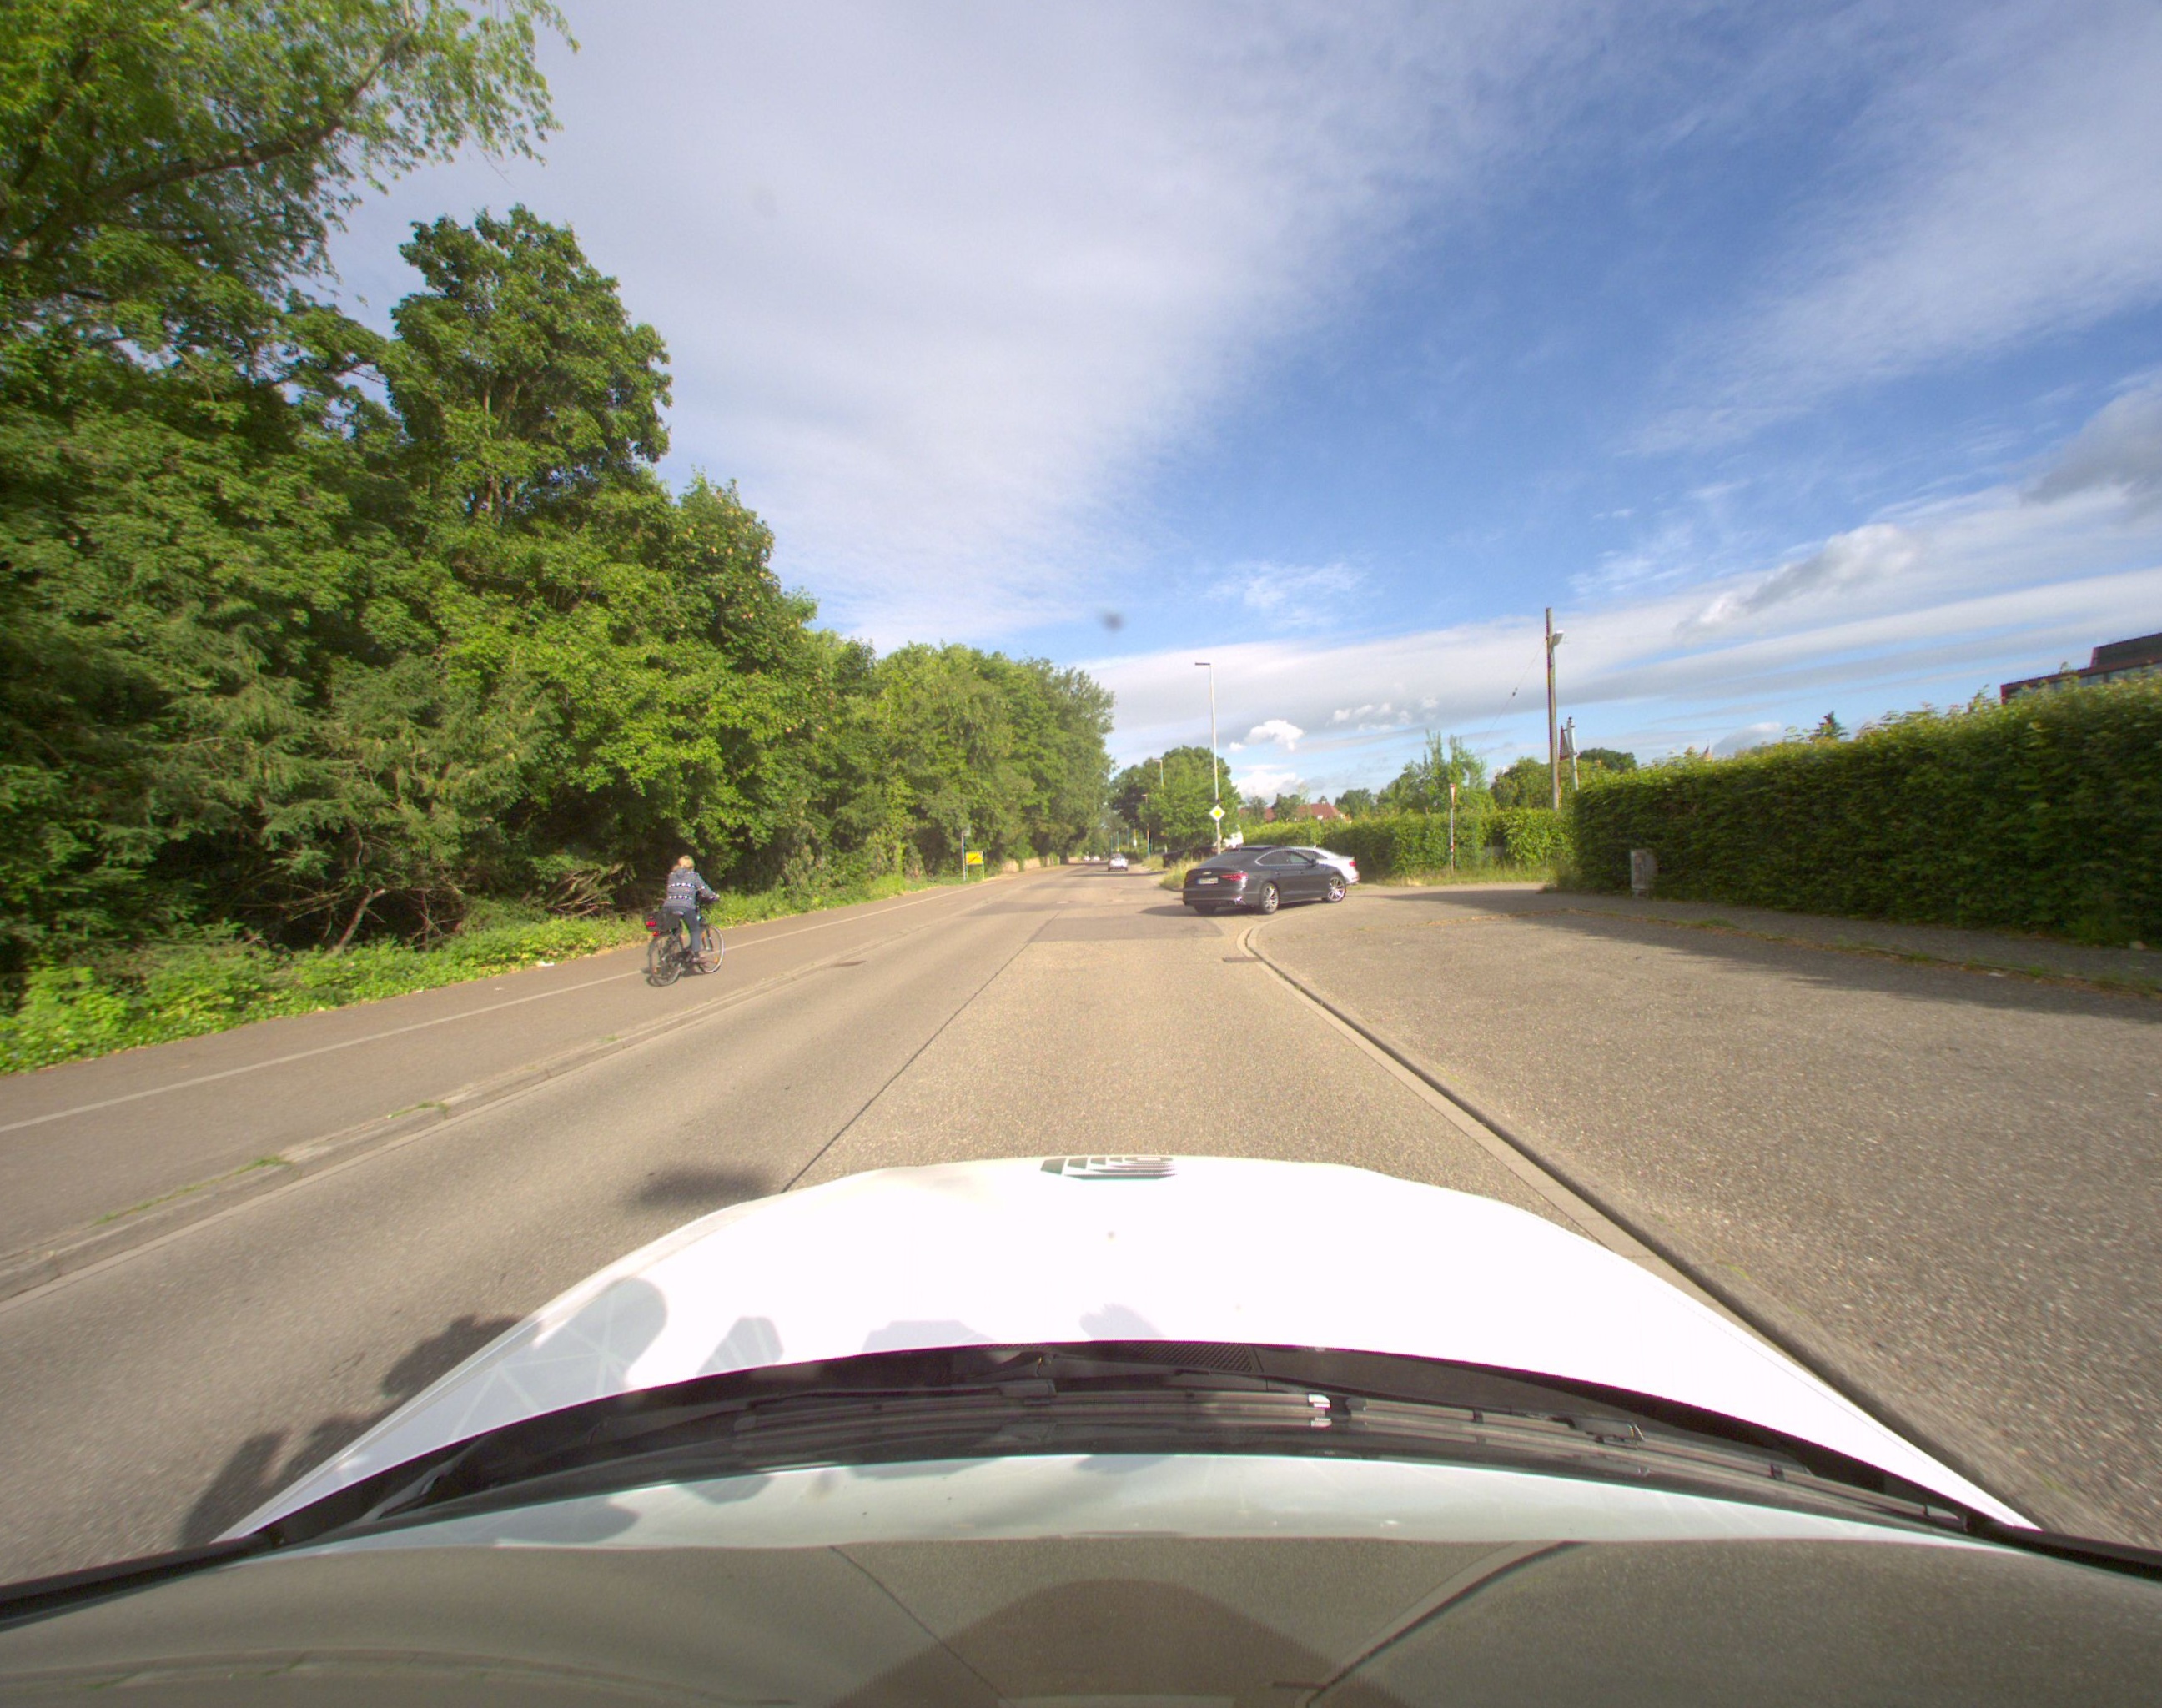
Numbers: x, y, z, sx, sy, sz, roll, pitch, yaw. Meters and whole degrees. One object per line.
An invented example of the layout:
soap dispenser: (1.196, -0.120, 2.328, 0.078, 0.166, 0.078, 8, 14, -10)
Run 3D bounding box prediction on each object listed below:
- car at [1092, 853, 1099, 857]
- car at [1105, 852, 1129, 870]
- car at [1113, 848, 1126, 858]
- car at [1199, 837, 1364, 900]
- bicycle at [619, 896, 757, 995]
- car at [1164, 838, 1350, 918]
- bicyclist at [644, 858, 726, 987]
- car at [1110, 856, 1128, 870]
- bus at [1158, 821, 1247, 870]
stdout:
car: (4.422, 0.289, 247.204, 1.880, 1.372, 4.054, -3, 0, 0)
car: (3.068, 0.594, 69.687, 1.879, 1.372, 4.056, -3, 0, 2)
car: (5.748, -0.084, 121.531, 1.879, 1.372, 4.056, -3, 0, 2)
car: (5.655, 0.412, 23.438, 4.337, 1.443, 1.937, -4, 0, 8)
bicycle: (-5.407, 1.205, 11.404, 0.660, 1.097, 2.350, -1, 0, 3)
car: (4.028, 0.473, 18.160, 1.948, 1.434, 4.362, -3, 0, 45)
bicyclist: (-5.421, 0.914, 11.194, 0.606, 1.676, 0.884, -2, 0, 3)
car: (4.223, 1.016, 91.391, 1.879, 1.465, 4.056, -3, 0, 2)
bus: (7.877, -0.550, 53.172, 5.349, 2.746, 2.068, -4, 1, -1)
